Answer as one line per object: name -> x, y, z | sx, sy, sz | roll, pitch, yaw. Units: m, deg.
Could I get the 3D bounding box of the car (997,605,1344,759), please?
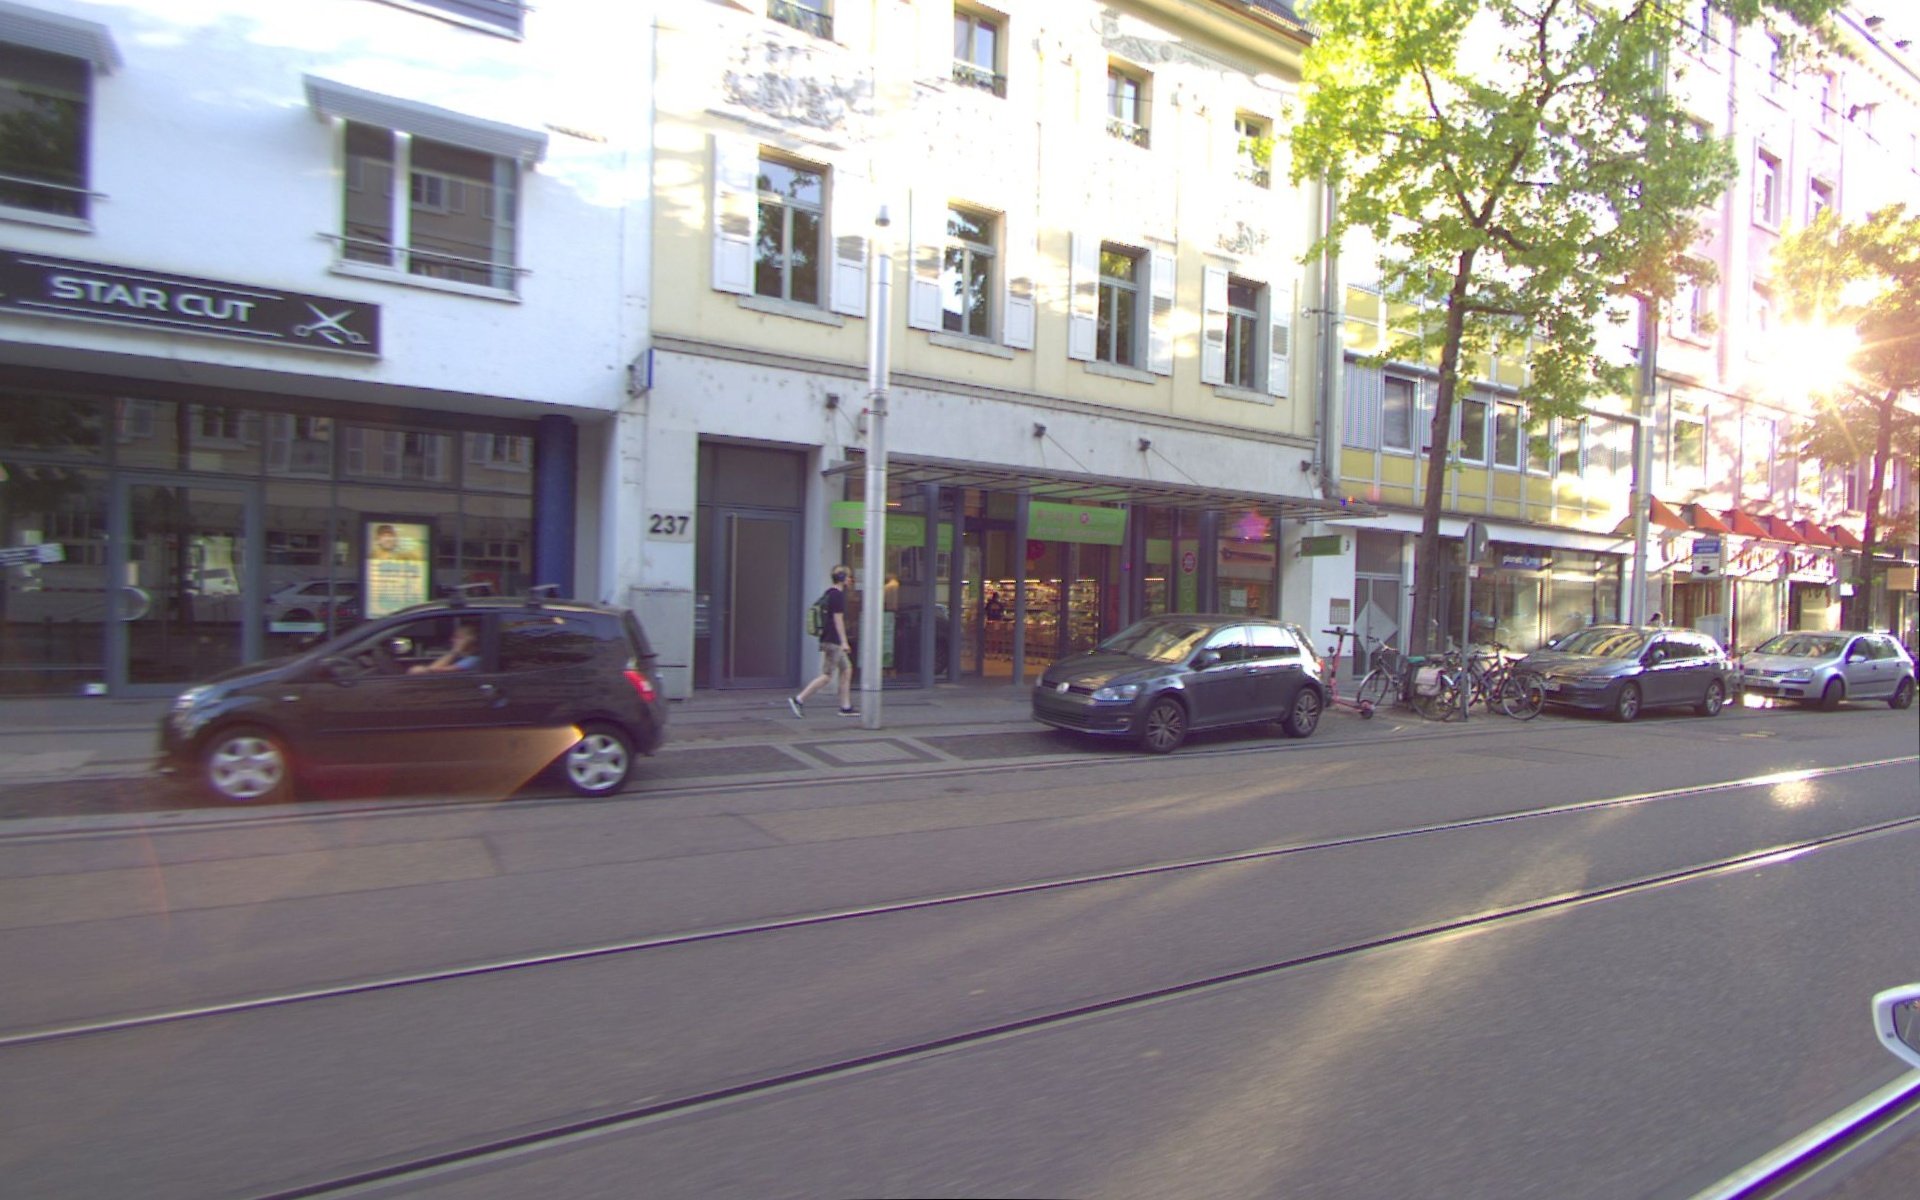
car -> 2.655, 0.892, 12.264 | 4.202, 1.510, 1.779 | 2, 1, -37

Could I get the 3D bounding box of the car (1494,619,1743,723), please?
car -> 11.219, 1.138, 17.037 | 4.433, 1.480, 1.703 | 2, 1, -30

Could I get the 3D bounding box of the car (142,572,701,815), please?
car -> -3.993, 0.660, 8.088 | 3.647, 1.638, 1.630 | 1, 2, -16

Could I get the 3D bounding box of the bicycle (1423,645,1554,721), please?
bicycle -> 8.129, 1.250, 15.547 | 0.326, 1.015, 1.963 | 1, 0, -27

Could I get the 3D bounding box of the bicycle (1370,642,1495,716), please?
bicycle -> 7.430, 1.217, 15.904 | 0.414, 1.015, 1.965 | 1, 0, -25

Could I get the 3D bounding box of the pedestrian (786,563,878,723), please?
pedestrian -> -1.555, 0.497, 12.175 | 0.868, 1.850, 0.656 | 1, 3, -30

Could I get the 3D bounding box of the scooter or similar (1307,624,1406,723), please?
scooter or similar -> 5.737, 1.035, 14.604 | 0.370, 1.288, 1.414 | 1, 2, -25

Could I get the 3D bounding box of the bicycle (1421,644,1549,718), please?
bicycle -> 8.311, 1.255, 16.004 | 0.326, 1.015, 1.963 | 1, 0, -27

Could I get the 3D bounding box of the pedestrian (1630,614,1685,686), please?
pedestrian -> 16.993, 1.206, 24.469 | 0.903, 1.716, 0.785 | 1, 0, -31

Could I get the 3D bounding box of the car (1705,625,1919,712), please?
car -> 16.913, 1.319, 19.880 | 4.119, 1.517, 1.761 | 2, 0, -26

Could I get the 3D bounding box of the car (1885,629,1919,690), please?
car -> 25.624, 1.563, 25.808 | 3.783, 1.447, 1.657 | 2, 3, -31

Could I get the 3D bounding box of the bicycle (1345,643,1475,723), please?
bicycle -> 6.603, 1.193, 14.849 | 0.326, 1.015, 1.963 | 1, 0, -27

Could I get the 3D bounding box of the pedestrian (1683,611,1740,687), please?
pedestrian -> 17.628, 1.133, 23.568 | 0.732, 1.716, 0.839 | 1, 0, -31
